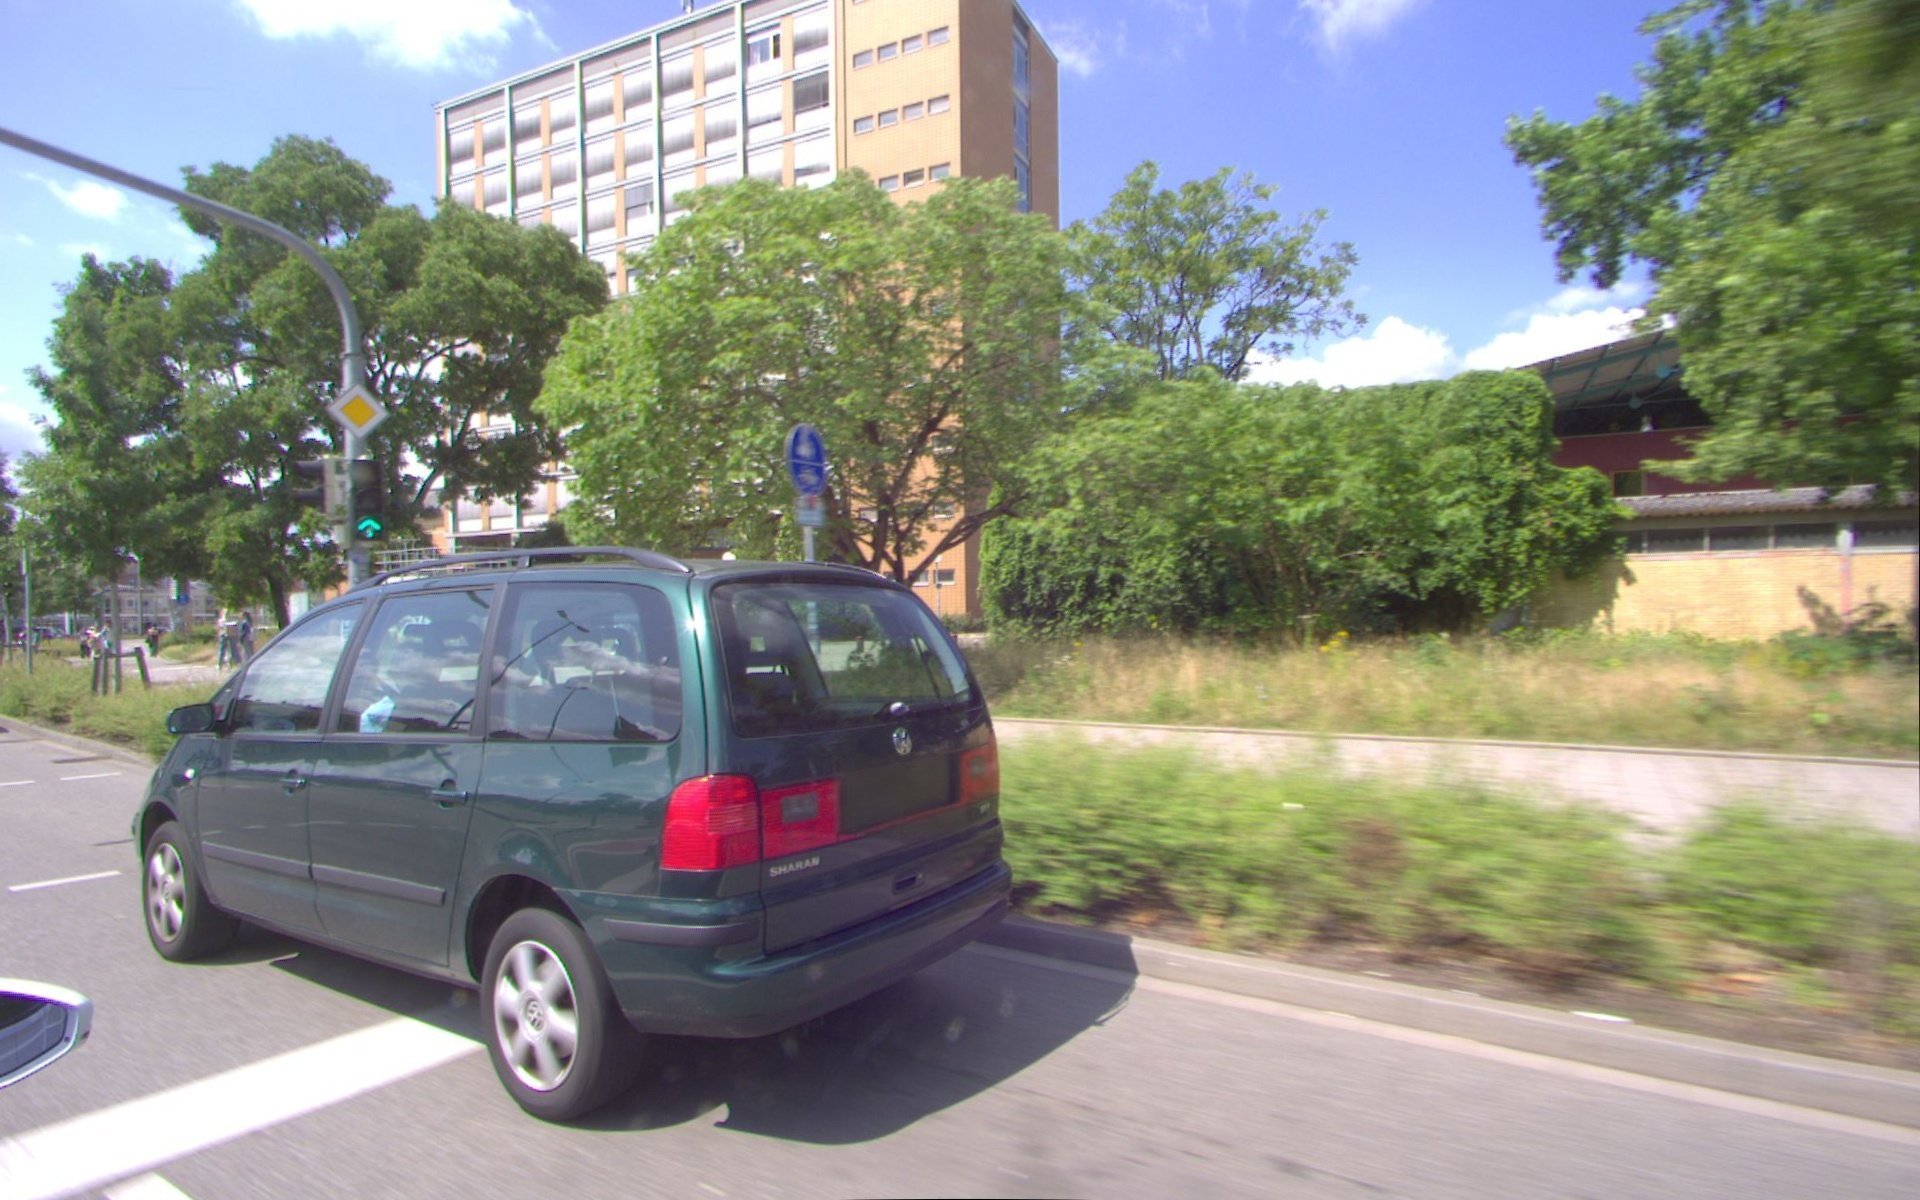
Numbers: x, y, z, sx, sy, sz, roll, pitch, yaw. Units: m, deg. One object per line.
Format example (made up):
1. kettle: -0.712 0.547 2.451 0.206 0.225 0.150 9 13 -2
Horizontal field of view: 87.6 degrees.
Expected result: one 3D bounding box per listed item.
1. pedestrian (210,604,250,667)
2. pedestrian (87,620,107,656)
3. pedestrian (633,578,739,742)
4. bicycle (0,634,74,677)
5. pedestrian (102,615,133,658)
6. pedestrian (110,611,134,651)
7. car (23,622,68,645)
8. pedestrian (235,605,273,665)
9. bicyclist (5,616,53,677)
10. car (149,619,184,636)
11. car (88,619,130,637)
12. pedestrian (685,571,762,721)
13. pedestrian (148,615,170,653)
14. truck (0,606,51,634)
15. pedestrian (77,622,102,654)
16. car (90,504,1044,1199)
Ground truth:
1. pedestrian: -21.521 1.033 29.524 0.602 1.827 0.747 0 2 37
2. pedestrian: -39.370 1.735 45.677 0.719 1.646 0.585 -2 -2 39
3. pedestrian: -3.150 0.663 11.532 0.867 1.801 0.749 0 1 25
4. bicycle: -25.879 1.551 27.812 0.584 1.064 1.802 -2 1 37
5. pedestrian: -37.029 1.590 44.007 0.769 1.846 0.753 -1 3 33
6. pedestrian: -38.617 1.430 46.152 0.630 1.844 0.753 -2 -2 39
7. car: -71.029 2.583 77.823 1.861 1.663 3.934 0 -1 -32
8. pedestrian: -21.451 1.040 30.425 0.602 1.776 0.747 0 2 37
9. bicyclist: -25.875 1.275 27.828 0.572 1.623 0.824 -2 1 38
10. car: -81.098 2.802 102.392 1.857 1.663 3.944 0 -1 -24
11. car: -79.212 2.590 93.268 1.857 1.663 3.944 0 -1 -24
12. pedestrian: -2.880 0.544 12.213 0.599 1.770 0.666 0 1 25
13. pedestrian: -39.238 1.670 49.051 0.666 1.844 0.752 -2 -2 40
14. truck: -103.538 2.196 109.253 2.843 2.889 8.778 0 -1 -16
15. pedestrian: -43.918 1.912 50.527 0.751 1.609 0.754 -1 -2 33
16. car: -1.978 0.705 4.461 4.387 1.744 1.791 -1 -3 34
